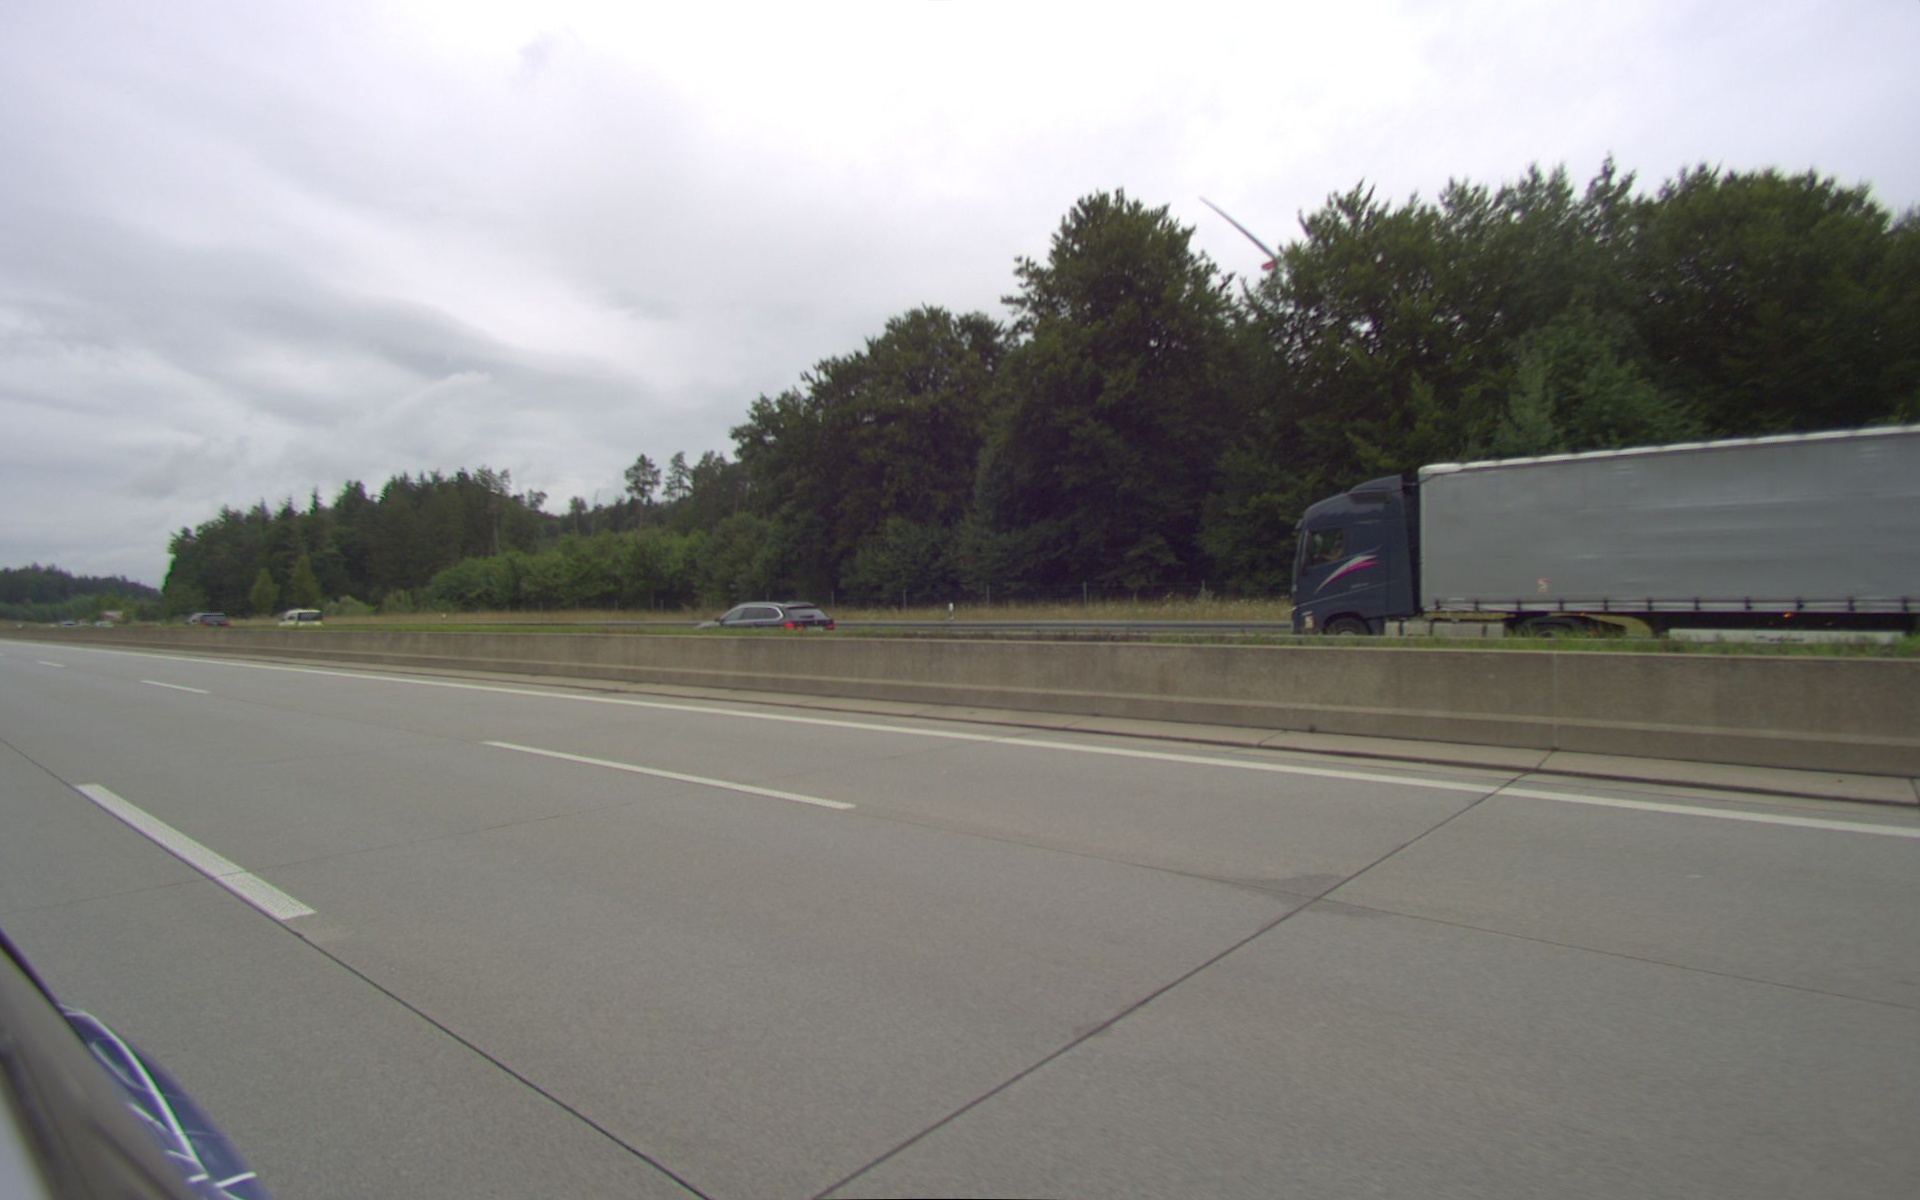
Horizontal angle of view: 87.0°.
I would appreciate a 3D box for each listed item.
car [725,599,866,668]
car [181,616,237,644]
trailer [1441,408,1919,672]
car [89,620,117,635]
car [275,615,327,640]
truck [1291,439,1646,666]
[{"bbox_3d":[-4.270,0.824,26.075,3.593,1.645,1.671,-1,0,41],"label":"car"},{"bbox_3d":[-46.467,1.850,62.601,3.998,1.641,1.973,-1,0,42],"label":"car"},{"bbox_3d":[15.715,-0.935,16.485,13.982,4.050,2.781,-1,0,42],"label":"trailer"},{"bbox_3d":[-95.475,3.060,112.696,3.932,1.641,1.832,-1,0,42],"label":"car"},{"bbox_3d":[-45.670,1.915,70.139,4.151,1.641,1.973,-2,-1,42],"label":"car"},{"bbox_3d":[10.466,-0.818,21.166,6.081,4.058,2.774,-1,0,42],"label":"truck"}]
